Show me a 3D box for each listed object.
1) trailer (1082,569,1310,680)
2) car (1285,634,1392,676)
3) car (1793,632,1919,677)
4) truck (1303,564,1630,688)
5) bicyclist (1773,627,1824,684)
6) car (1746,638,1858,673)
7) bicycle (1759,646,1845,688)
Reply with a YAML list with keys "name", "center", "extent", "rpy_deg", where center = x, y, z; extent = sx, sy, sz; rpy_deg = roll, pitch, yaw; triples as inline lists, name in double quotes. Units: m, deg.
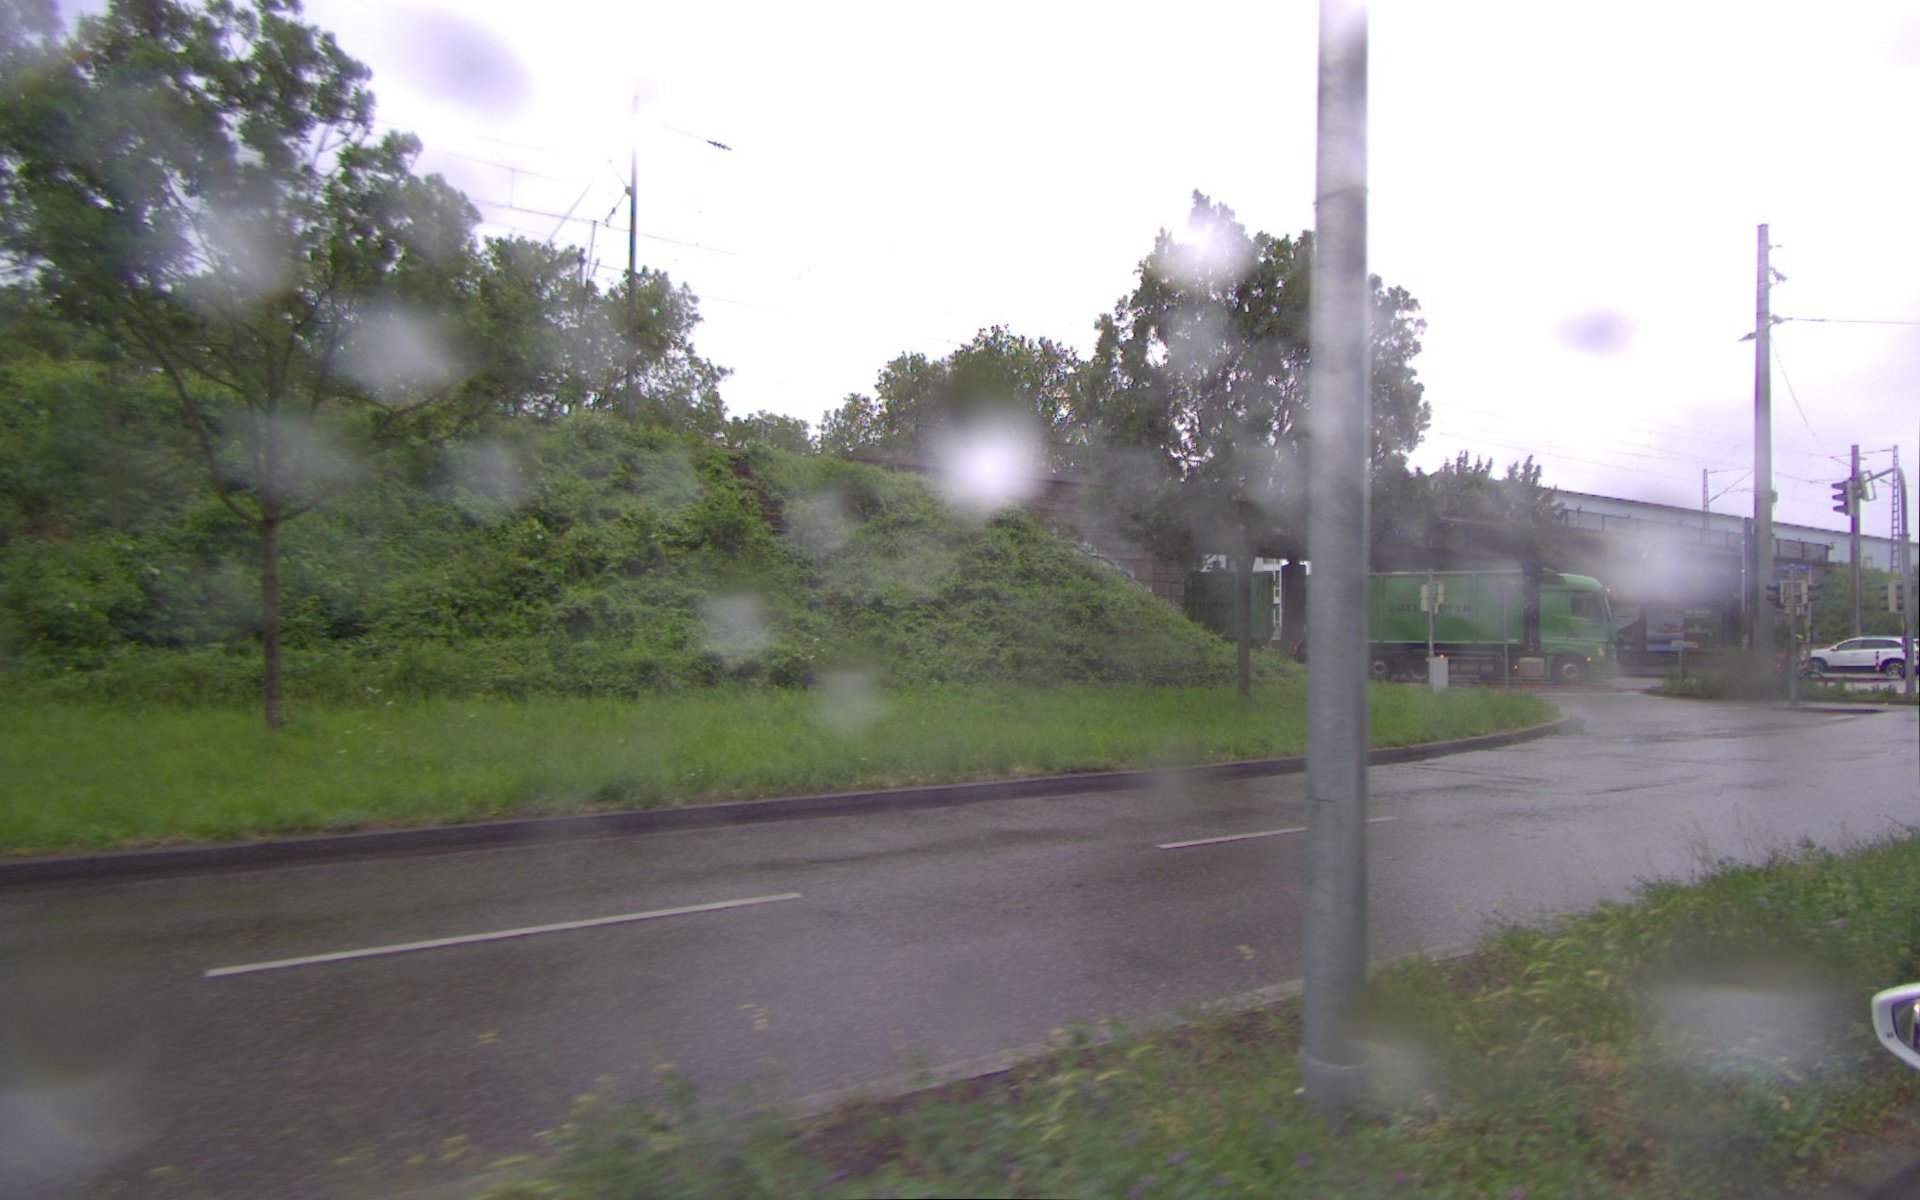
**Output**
- name: "trailer"
  center: [9.231, 0.942, 39.513]
  extent: [8.358, 4.039, 2.688]
  rpy_deg: [0, -2, 25]
- name: "car"
  center: [15.248, 2.176, 40.408]
  extent: [3.924, 1.594, 1.999]
  rpy_deg: [-1, -2, 24]
- name: "car"
  center: [39.256, 2.324, 43.572]
  extent: [1.976, 1.870, 4.407]
  rpy_deg: [2, -2, -30]
- name: "truck"
  center: [17.571, 0.933, 35.658]
  extent: [10.001, 4.001, 2.686]
  rpy_deg: [0, -2, 25]
- name: "bicyclist"
  center: [24.820, 1.641, 29.737]
  extent: [1.029, 1.614, 0.803]
  rpy_deg: [1, -1, 33]
- name: "car"
  center: [40.443, 2.634, 48.343]
  extent: [3.933, 1.522, 1.767]
  rpy_deg: [-1, -2, 34]
- name: "bicycle"
  center: [24.869, 1.965, 29.707]
  extent: [1.881, 1.109, 0.693]
  rpy_deg: [1, -1, 34]
